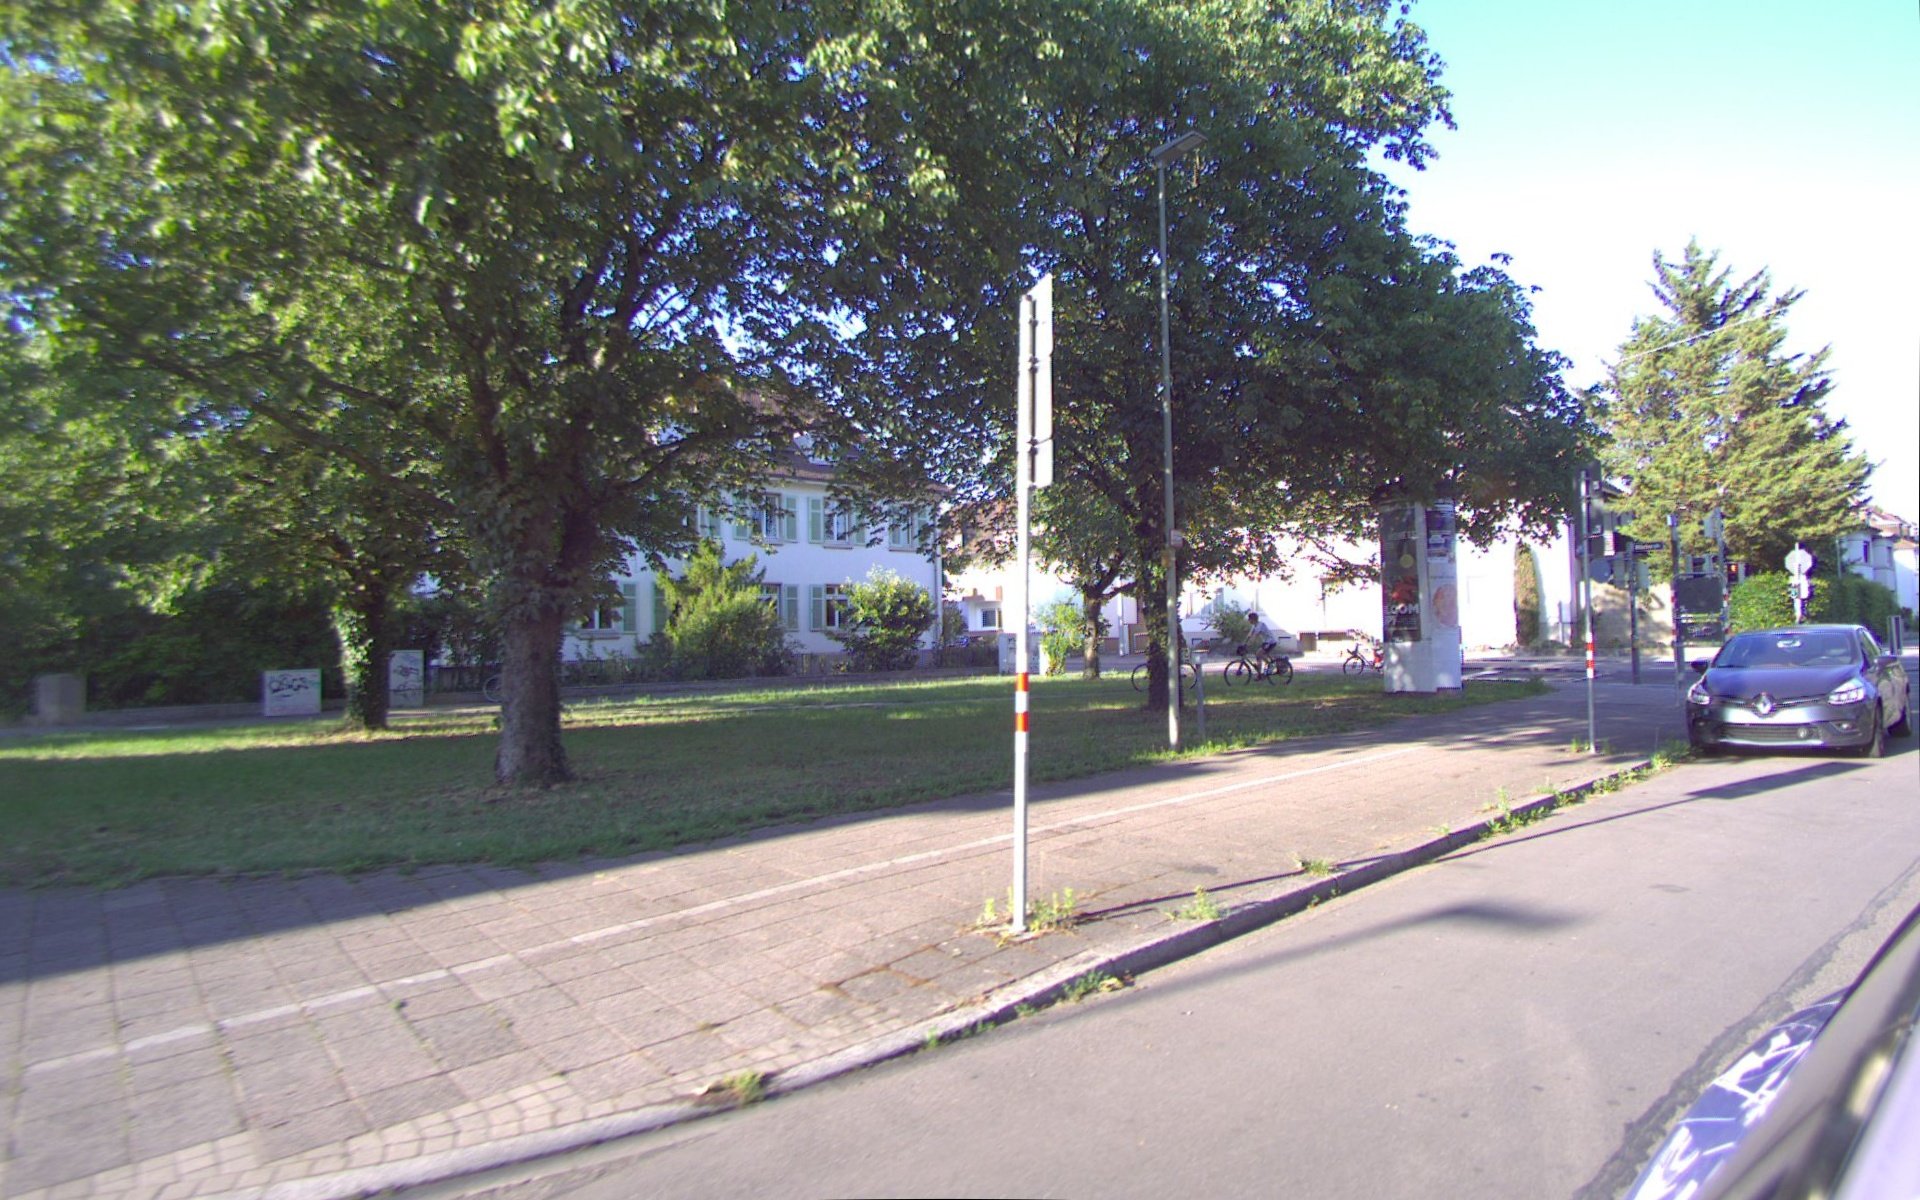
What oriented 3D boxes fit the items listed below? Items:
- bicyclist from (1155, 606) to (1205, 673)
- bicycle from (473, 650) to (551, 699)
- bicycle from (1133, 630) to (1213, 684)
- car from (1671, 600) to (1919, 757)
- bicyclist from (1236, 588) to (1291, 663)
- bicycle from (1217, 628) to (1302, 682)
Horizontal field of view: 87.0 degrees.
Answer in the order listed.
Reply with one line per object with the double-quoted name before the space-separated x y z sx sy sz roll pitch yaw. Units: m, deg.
"bicyclist" 5.475 0.980 25.182 0.876 1.582 0.715 -2 -3 -27
"bicycle" -12.299 2.032 27.806 1.920 1.254 0.449 0 -3 -41
"bicycle" 5.278 1.401 25.064 1.923 1.199 0.493 -3 -4 -24
"car" 10.475 0.850 12.357 4.460 1.531 1.728 -1 -4 -40
"bicyclist" 7.509 0.640 25.049 0.875 1.755 0.818 -3 -4 -13
"bicycle" 7.389 1.349 24.973 1.866 1.199 0.575 -3 -4 -13
